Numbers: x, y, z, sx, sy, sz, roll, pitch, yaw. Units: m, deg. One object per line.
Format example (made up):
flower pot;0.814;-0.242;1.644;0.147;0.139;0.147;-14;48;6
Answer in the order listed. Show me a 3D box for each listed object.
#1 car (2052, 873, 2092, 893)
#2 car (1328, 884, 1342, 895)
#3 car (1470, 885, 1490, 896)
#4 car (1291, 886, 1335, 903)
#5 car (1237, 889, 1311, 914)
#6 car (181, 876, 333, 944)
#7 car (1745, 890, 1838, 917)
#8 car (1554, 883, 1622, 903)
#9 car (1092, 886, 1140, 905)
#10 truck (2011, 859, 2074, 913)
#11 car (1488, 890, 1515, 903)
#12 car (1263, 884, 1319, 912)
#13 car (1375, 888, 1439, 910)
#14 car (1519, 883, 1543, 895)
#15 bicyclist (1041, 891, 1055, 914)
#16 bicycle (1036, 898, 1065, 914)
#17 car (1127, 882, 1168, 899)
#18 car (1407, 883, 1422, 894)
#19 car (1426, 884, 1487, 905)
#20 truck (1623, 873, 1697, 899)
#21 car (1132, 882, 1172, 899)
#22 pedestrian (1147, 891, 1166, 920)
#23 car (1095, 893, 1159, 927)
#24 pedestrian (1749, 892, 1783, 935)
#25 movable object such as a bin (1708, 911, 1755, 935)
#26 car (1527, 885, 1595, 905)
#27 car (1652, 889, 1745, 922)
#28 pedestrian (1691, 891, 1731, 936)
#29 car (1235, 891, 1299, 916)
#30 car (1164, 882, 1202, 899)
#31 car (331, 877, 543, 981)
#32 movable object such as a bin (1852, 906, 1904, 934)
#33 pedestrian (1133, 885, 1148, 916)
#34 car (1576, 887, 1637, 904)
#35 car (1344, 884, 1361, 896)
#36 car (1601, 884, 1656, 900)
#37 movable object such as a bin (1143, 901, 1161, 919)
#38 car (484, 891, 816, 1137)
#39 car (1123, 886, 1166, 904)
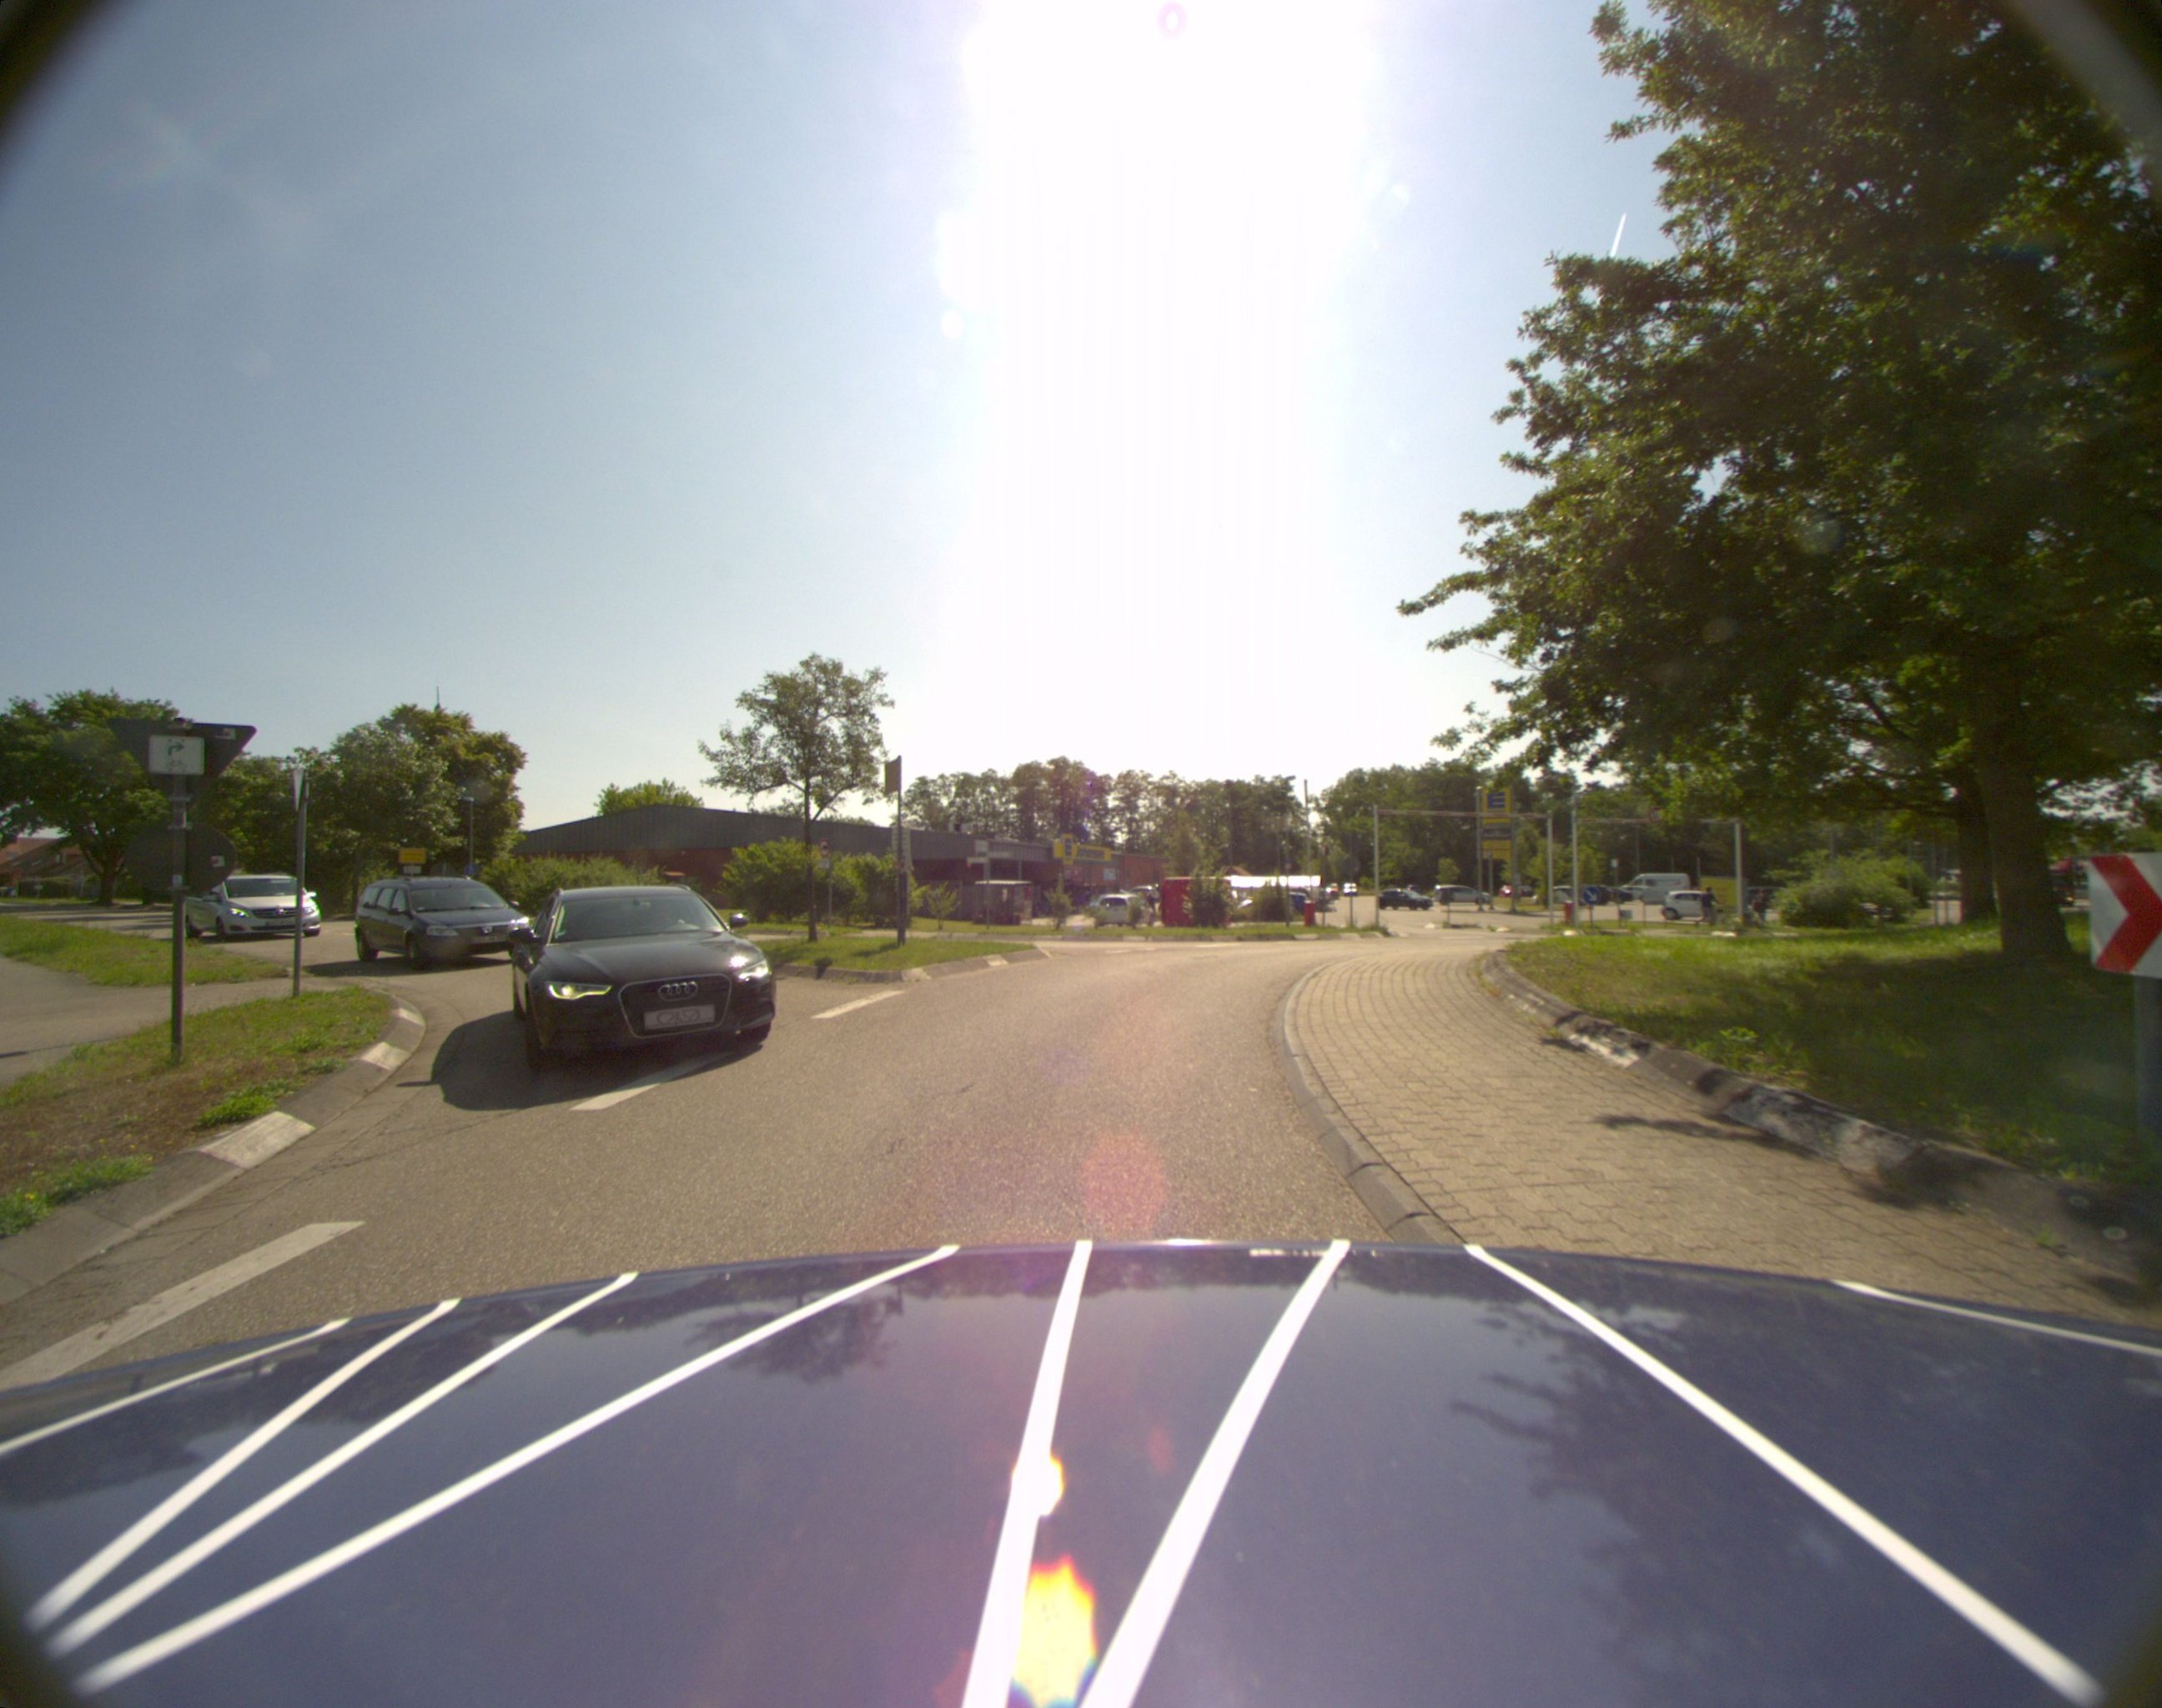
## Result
car;92.223;2.738;70.755;4.606;1.804;1.894;2;-2;-42
car;36.131;5.036;107.982;1.792;1.586;4.268;0;-2;21
car;53.650;4.884;102.221;2.066;1.477;4.008;-1;-2;22
car;23.575;4.079;77.237;3.990;1.651;2.004;-1;-3;27
car;12.465;3.073;49.109;4.417;1.561;1.720;-2;-3;25
car;-24.347;1.570;22.408;5.187;1.804;2.005;-1;-2;31
car;45.328;3.141;48.519;1.756;1.617;4.122;1;-2;-40
car;40.366;3.104;60.552;2.005;1.564;4.155;2;-4;-44
car;3.206;3.720;68.843;3.992;1.673;2.003;-1;-2;17
truck;72.626;2.407;57.497;5.964;3.890;2.715;2;-2;-40
car;49.282;4.986;89.129;1.996;1.456;4.502;0;-2;18
car;14.947;3.141;54.015;3.483;1.916;1.883;-2;-3;29
car;24.207;3.316;56.507;1.665;1.578;3.990;2;-3;-41
car;59.037;4.560;99.685;2.066;1.477;4.008;-1;-2;22
bicyclist;-2.154;3.167;49.738;0.676;1.505;0.609;-1;-2;39
bicycle;-1.993;3.395;49.589;2.070;1.035;0.555;-2;-3;39
car;7.028;3.846;80.156;3.992;1.804;2.003;-1;-2;17
car;45.947;4.732;104.723;1.659;1.477;4.381;-1;-2;22
car;32.329;3.498;65.576;4.550;1.691;2.004;-3;-3;21
truck;58.397;3.189;76.738;2.208;2.589;5.602;2;-2;-43
car;7.669;3.945;82.429;3.992;1.804;2.003;-1;-2;17
pedestrian;4.347;2.938;43.651;0.815;1.609;0.925;0;-2;-14
car;2.194;2.550;35.058;1.722;1.436;3.780;-1;-3;24
pedestrian;26.253;2.271;29.118;0.596;1.637;0.703;0;-2;-9
movable object such as a bin;26.402;2.786;30.833;1.204;0.949;0.880;0;-2;-12
car;36.068;3.032;57.173;1.654;1.433;3.989;2;-3;-42
car;32.159;2.627;39.599;3.595;1.552;1.818;-1;-2;45
pedestrian;25.396;2.387;30.643;0.843;1.774;0.880;0;-2;-11
car;11.402;3.027;46.653;3.483;1.448;1.720;-2;-3;29
car;12.030;4.325;89.623;3.990;2.001;2.004;-1;-2;22
car;-12.486;1.343;14.650;4.643;1.631;1.819;-2;1;33
movable object such as a bin;33.617;2.789;32.066;1.456;1.113;0.870;0;-3;-14
pedestrian;3.649;2.855;46.589;0.839;1.859;0.775;-1;-2;13
car;44.231;3.466;63.989;3.989;1.418;1.753;-2;-3;41
car;38.354;5.027;107.228;2.066;1.700;4.008;-1;-2;22
car;50.182;3.482;69.635;3.963;1.444;1.909;-2;-3;38
movable object such as a bin;4.170;3.270;44.605;0.769;1.040;1.040;0;-3;-13
car;-4.509;1.169;7.474;1.927;1.425;4.899;-2;0;-40
car;6.477;4.129;77.641;3.992;1.804;2.003;-1;-2;17
